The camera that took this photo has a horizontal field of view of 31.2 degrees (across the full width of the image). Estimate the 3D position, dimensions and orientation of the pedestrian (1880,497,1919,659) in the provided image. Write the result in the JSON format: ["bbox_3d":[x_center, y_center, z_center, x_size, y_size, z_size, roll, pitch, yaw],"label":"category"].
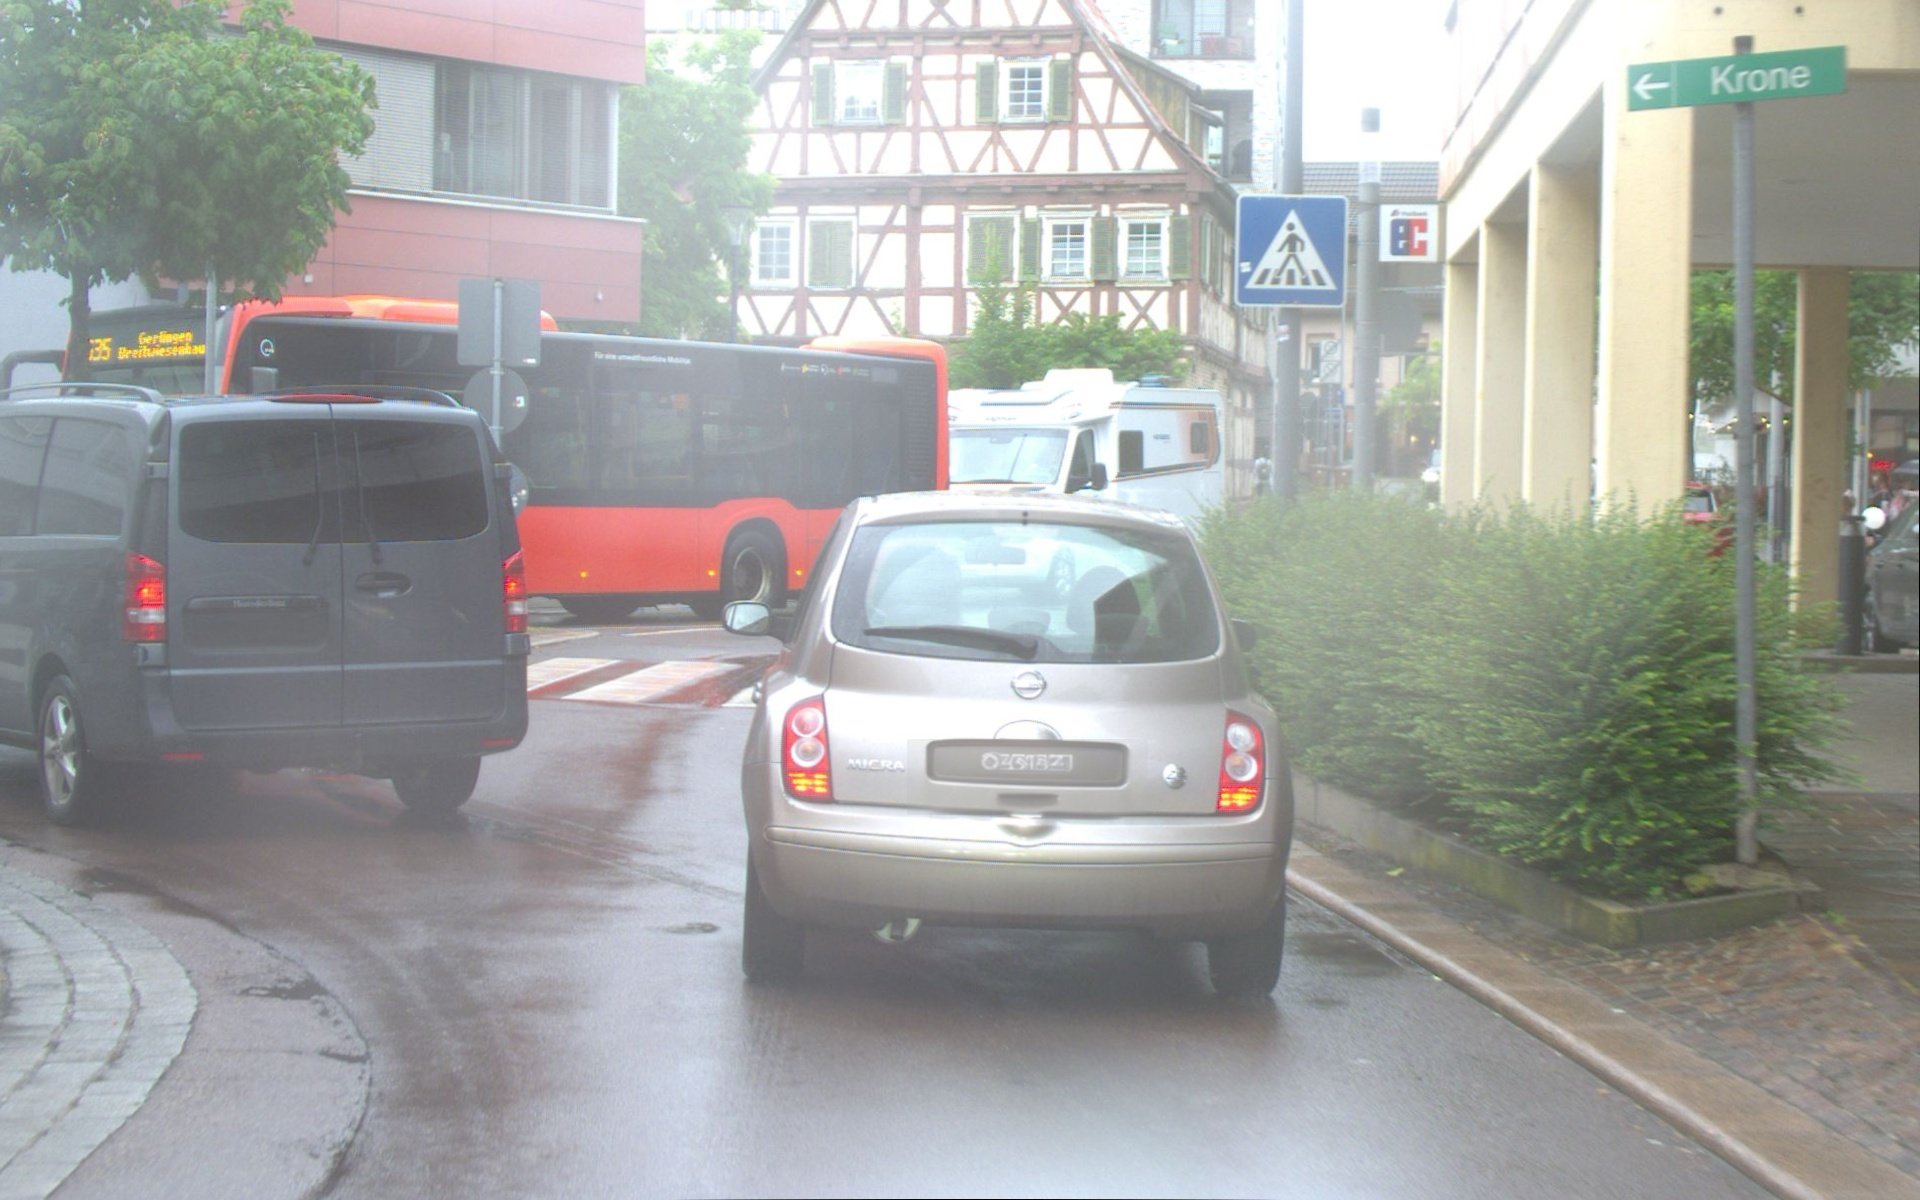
[{"bbox_3d":[9.955,-0.222,34.881,0.966,1.633,0.733,2,2,37],"label":"pedestrian"}]

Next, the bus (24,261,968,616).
[{"bbox_3d":[-4.250,-1.564,34.862,2.819,3.078,10.585,2,3,37],"label":"bus"}]

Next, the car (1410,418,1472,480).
[{"bbox_3d":[14.019,-4.382,100.185,1.587,1.707,3.319,1,2,11],"label":"car"}]

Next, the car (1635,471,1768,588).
[{"bbox_3d":[10.130,-0.995,47.139,1.624,1.495,3.999,-1,2,10],"label":"car"}]

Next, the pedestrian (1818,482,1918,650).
[{"bbox_3d":[9.106,-0.345,34.478,0.697,1.655,0.819,2,2,36],"label":"pedestrian"}]

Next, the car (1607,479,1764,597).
[{"bbox_3d":[9.005,-0.790,42.535,1.538,1.357,3.371,2,2,18],"label":"car"}]

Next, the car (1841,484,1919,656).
[{"bbox_3d":[8.158,-0.253,26.950,1.763,1.271,4.471,1,2,6],"label":"car"}]

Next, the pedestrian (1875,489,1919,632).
[{"bbox_3d":[9.985,-0.419,36.450,0.496,1.503,0.490,1,2,12],"label":"pedestrian"}]

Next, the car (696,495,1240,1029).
[{"bbox_3d":[-0.022,0.410,11.397,1.522,1.465,3.342,1,2,-2],"label":"car"}]

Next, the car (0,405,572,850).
[{"bbox_3d":[-3.737,0.012,16.228,1.946,1.774,4.727,0,2,-31],"label":"car"}]

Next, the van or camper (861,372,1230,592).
[{"bbox_3d":[1.245,-1.495,44.242,2.441,2.576,6.743,2,2,22],"label":"van or camper"}]
